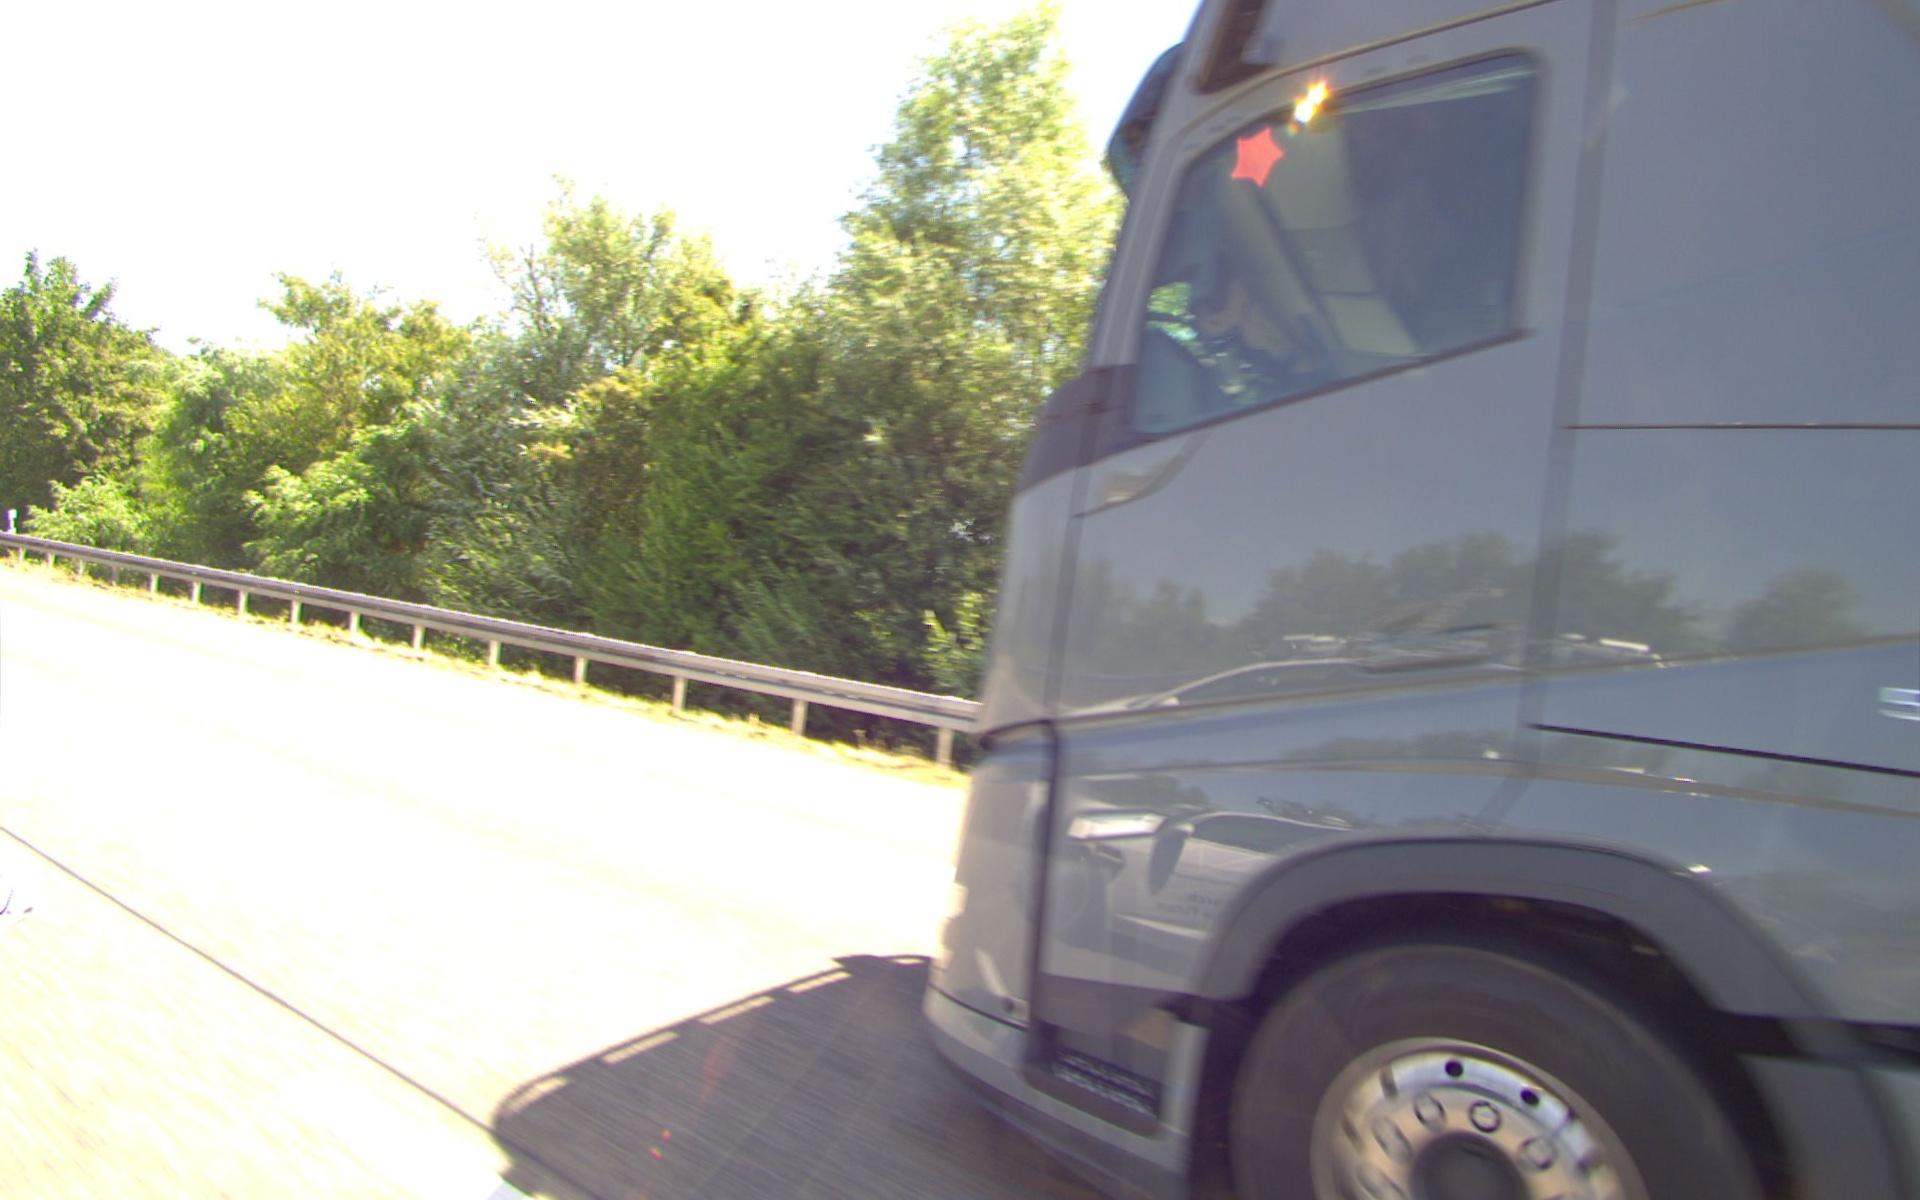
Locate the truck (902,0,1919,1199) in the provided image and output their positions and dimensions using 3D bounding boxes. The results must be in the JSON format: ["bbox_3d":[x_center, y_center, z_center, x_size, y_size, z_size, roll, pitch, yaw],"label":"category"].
[{"bbox_3d":[3.444,-0.057,2.087,6.406,4.001,2.557,7,-1,32],"label":"truck"}]
